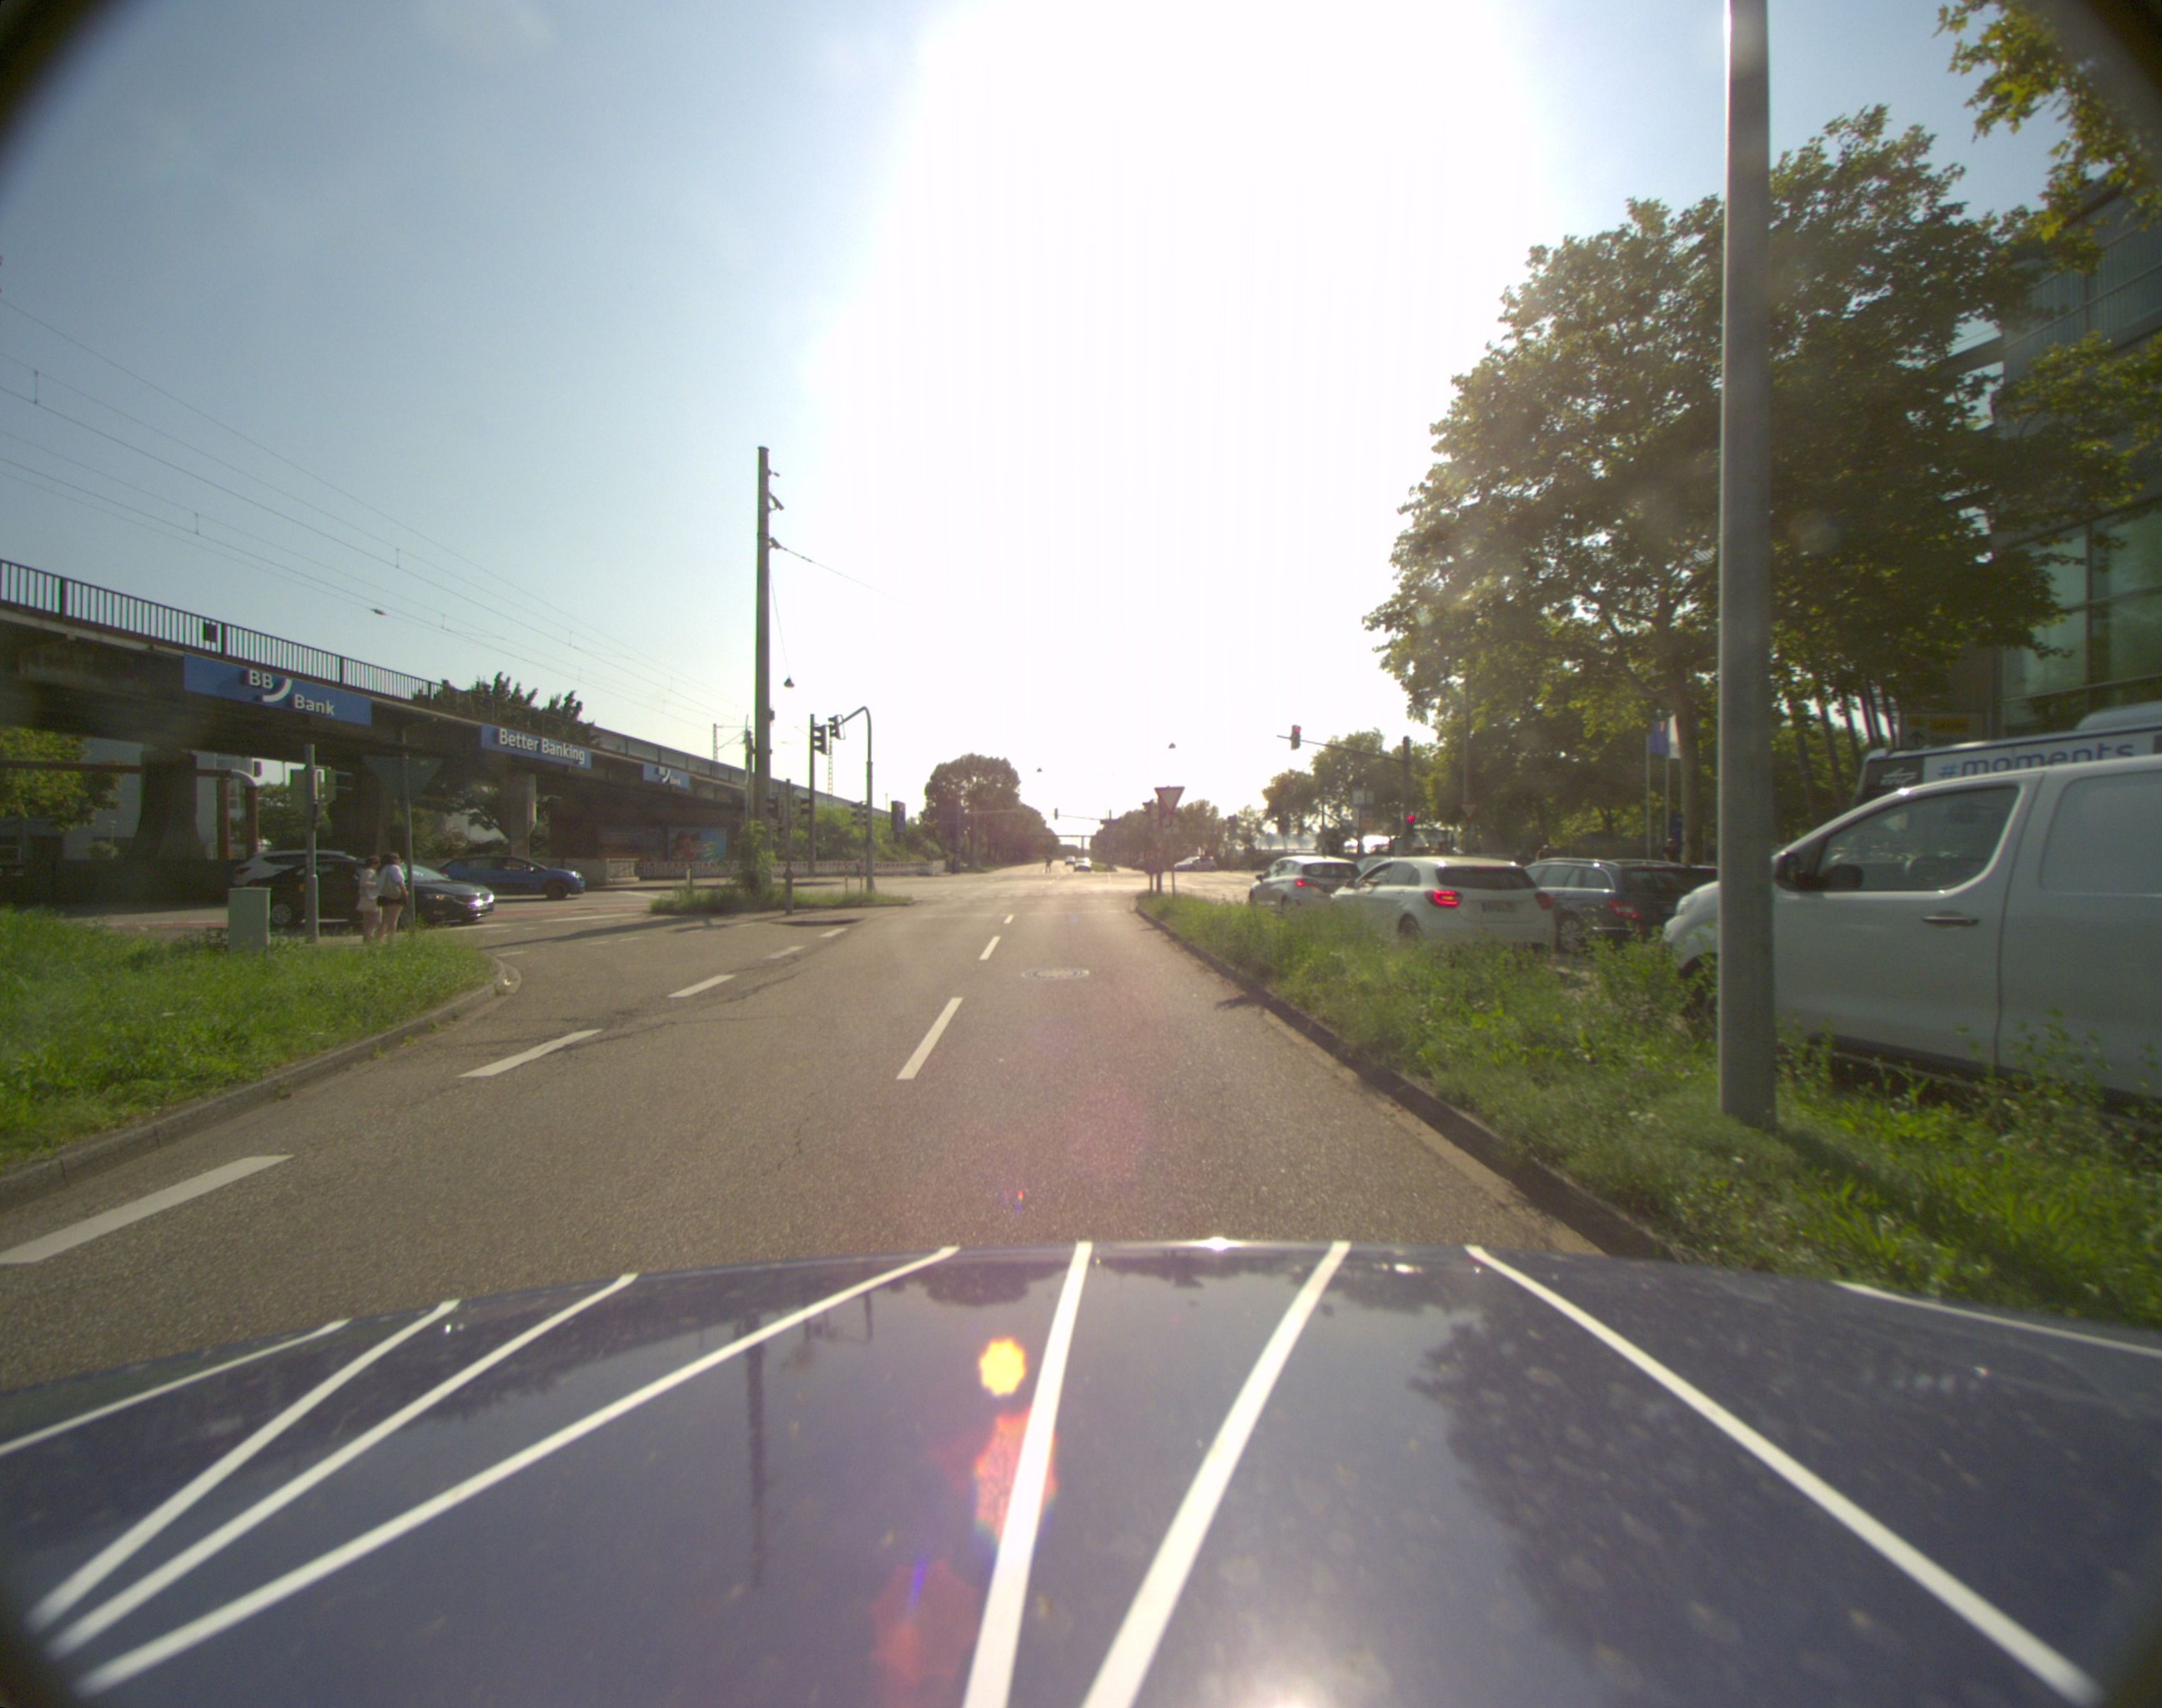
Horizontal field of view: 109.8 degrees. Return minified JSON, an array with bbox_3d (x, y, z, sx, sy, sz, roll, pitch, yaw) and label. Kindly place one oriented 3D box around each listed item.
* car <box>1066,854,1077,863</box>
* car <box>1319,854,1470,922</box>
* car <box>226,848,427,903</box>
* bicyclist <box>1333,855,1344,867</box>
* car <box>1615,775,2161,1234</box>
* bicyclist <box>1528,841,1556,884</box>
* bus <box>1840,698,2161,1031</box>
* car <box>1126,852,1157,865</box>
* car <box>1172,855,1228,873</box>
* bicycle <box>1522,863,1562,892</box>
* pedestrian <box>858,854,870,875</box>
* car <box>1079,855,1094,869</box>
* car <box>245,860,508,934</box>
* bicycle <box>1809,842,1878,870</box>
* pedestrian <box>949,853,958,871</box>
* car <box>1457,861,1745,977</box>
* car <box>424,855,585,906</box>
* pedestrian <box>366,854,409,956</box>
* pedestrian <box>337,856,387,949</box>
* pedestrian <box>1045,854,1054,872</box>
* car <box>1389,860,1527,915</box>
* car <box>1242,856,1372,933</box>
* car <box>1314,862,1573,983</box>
[{"bbox_3d":[-1.603,0.754,134.732,1.865,1.584,4.000,0,0,0],"label":"car"},{"bbox_3d":[7.707,0.773,19.171,1.860,1.495,4.263,1,0,-3],"label":"car"},{"bbox_3d":[-23.741,0.619,24.168,4.224,1.608,2.005,-1,1,-35],"label":"car"},{"bbox_3d":[24.644,0.652,72.629,0.521,1.134,0.907,-1,1,-23],"label":"bicyclist"},{"bbox_3d":[5.311,0.621,3.600,1.917,1.853,4.888,1,0,-3],"label":"car"},{"bbox_3d":[18.142,0.335,29.912,0.633,1.678,0.809,0,0,2],"label":"bicyclist"},{"bbox_3d":[11.327,0.117,3.748,2.597,3.062,12.308,-1,1,-2],"label":"bus"},{"bbox_3d":[7.581,0.545,95.683,2.003,1.543,3.990,-1,1,-30],"label":"car"},{"bbox_3d":[10.874,0.874,69.244,5.441,1.438,1.855,-1,1,-38],"label":"car"},{"bbox_3d":[18.140,0.896,29.926,0.644,1.088,1.650,0,0,2],"label":"bicycle"},{"bbox_3d":[-15.850,0.765,55.533,0.636,1.565,0.489,-2,1,-39],"label":"pedestrian"},{"bbox_3d":[0.580,0.837,80.824,1.545,1.433,3.395,0,0,1],"label":"car"},{"bbox_3d":[-15.496,0.911,16.876,4.189,1.524,1.871,0,1,3],"label":"car"},{"bbox_3d":[29.644,0.077,29.582,1.862,1.087,0.528,0,1,41],"label":"bicycle"},{"bbox_3d":[-11.013,0.702,65.474,0.649,1.565,0.759,1,1,-2],"label":"pedestrian"},{"bbox_3d":[7.935,0.895,12.145,1.711,1.433,3.999,2,1,-2],"label":"car"},{"bbox_3d":[-18.508,0.792,24.552,4.007,1.444,1.613,-1,1,-37],"label":"car"},{"bbox_3d":[-11.701,0.834,12.819,0.493,1.672,0.569,-1,1,-44],"label":"pedestrian"},{"bbox_3d":[-12.482,0.819,13.204,0.573,1.558,0.535,-2,2,-43],"label":"pedestrian"},{"bbox_3d":[-2.959,0.846,72.228,0.645,1.715,0.588,1,1,30],"label":"pedestrian"},{"bbox_3d":[10.672,0.894,21.881,1.714,1.345,4.158,0,0,-3],"label":"car"},{"bbox_3d":[4.866,0.804,16.956,1.648,1.487,3.999,0,0,-1],"label":"car"},{"bbox_3d":[4.990,0.851,11.179,1.714,1.394,4.082,1,0,-2],"label":"car"}]
